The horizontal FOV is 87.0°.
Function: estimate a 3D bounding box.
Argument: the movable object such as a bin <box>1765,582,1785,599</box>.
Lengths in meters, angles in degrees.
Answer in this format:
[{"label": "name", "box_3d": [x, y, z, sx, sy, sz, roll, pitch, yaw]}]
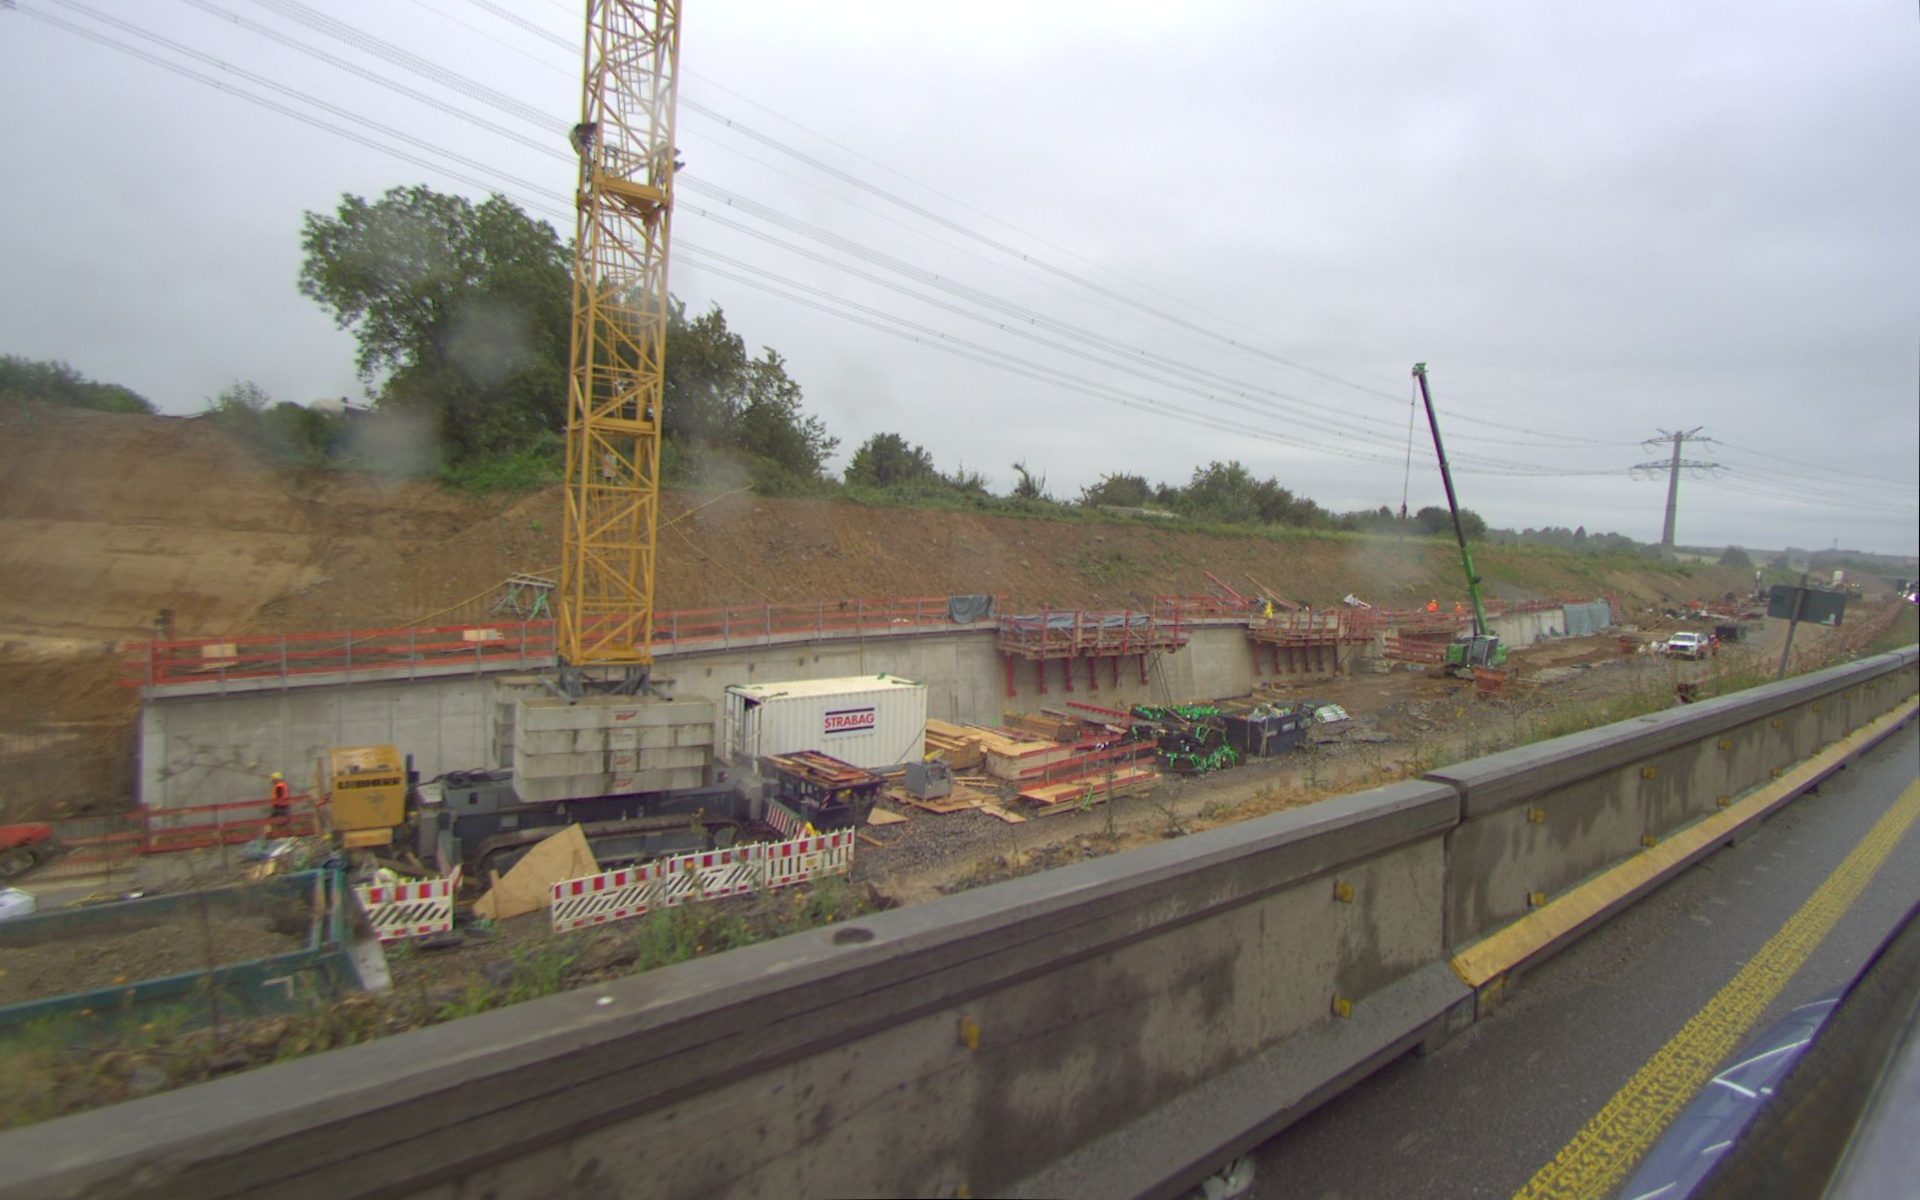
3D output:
[{"label": "movable object such as a bin", "box_3d": [133.721, -1.541, 166.083, 2.245, 2.753, 3.939, 1, 2, 42]}]

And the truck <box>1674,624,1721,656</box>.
[{"label": "truck", "box_3d": [52.767, 2.833, 72.364, 5.692, 1.893, 1.764, -1, 4, -44]}]

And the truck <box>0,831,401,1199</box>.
[{"label": "truck", "box_3d": [-11.180, 5.159, 11.122, 8.769, 3.547, 2.711, -1, 2, -30]}]

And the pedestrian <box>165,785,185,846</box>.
[{"label": "pedestrian", "box_3d": [-20.022, 5.483, 25.814, 0.392, 1.455, 0.424, -1, -7, -37]}]

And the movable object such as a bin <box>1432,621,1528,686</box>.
[{"label": "movable object such as a bin", "box_3d": [30.576, 3.052, 59.496, 4.781, 2.836, 3.795, -8, 8, -44]}]

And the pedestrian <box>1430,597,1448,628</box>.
[{"label": "pedestrian", "box_3d": [36.615, 0.941, 77.329, 0.914, 2.275, 0.991, -4, -2, 42]}]

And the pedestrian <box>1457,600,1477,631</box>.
[{"label": "pedestrian", "box_3d": [38.374, 1.186, 76.565, 0.988, 2.260, 0.916, -2, -2, -40]}]
